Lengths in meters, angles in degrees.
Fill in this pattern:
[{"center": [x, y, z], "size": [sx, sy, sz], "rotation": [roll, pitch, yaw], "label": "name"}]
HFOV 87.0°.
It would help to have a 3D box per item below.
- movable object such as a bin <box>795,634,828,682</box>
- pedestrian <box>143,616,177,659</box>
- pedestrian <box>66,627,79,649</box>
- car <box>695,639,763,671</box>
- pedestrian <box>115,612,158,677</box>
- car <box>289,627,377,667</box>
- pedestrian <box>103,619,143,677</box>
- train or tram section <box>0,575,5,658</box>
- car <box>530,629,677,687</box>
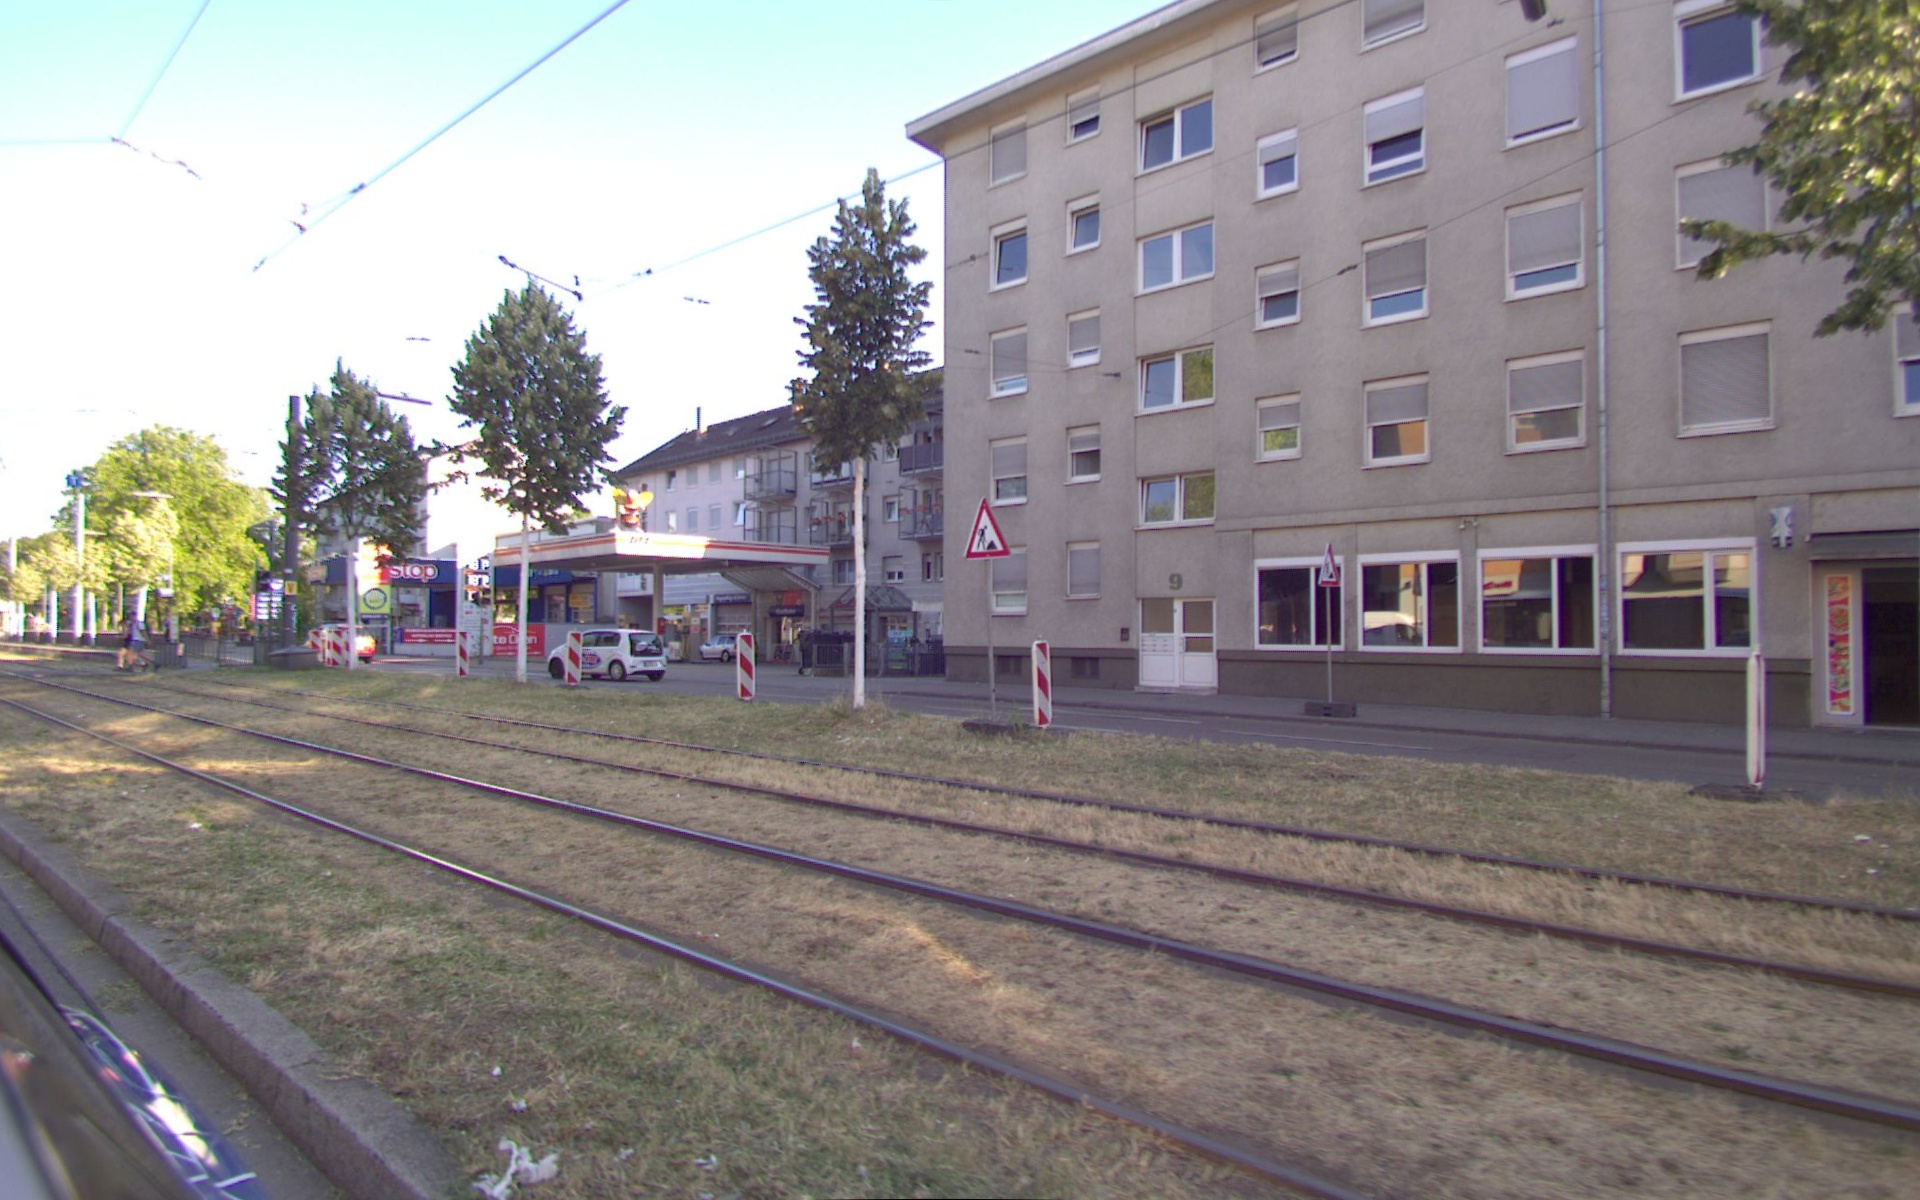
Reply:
[{"center": [-4.518, 1.756, 30.754], "size": [0.748, 1.411, 0.656], "rotation": [-2, -3, 39], "label": "movable object such as a bin"}, {"center": [-32.436, 1.519, 41.031], "size": [0.925, 1.666, 0.925], "rotation": [-2, 0, 41], "label": "pedestrian"}, {"center": [-78.180, 3.362, 89.146], "size": [0.999, 1.896, 0.745], "rotation": [-2, 0, 40], "label": "pedestrian"}, {"center": [-12.267, 2.894, 53.646], "size": [1.791, 1.535, 3.831], "rotation": [0, 0, -45], "label": "car"}, {"center": [-25.267, 1.364, 31.054], "size": [0.754, 1.947, 0.849], "rotation": [-2, -3, 38], "label": "pedestrian"}, {"center": [-26.626, 1.965, 42.900], "size": [4.932, 1.572, 1.793], "rotation": [-1, -3, 42], "label": "car"}, {"center": [-26.071, 1.493, 31.521], "size": [0.859, 1.760, 0.746], "rotation": [-1, -3, 38], "label": "pedestrian"}, {"center": [-41.362, 0.812, 40.703], "size": [10.088, 3.544, 3.004], "rotation": [-1, -3, 40], "label": "train or tram section"}, {"center": [-10.191, 1.630, 28.938], "size": [3.809, 1.523, 1.801], "rotation": [0, -3, 26], "label": "car"}]
